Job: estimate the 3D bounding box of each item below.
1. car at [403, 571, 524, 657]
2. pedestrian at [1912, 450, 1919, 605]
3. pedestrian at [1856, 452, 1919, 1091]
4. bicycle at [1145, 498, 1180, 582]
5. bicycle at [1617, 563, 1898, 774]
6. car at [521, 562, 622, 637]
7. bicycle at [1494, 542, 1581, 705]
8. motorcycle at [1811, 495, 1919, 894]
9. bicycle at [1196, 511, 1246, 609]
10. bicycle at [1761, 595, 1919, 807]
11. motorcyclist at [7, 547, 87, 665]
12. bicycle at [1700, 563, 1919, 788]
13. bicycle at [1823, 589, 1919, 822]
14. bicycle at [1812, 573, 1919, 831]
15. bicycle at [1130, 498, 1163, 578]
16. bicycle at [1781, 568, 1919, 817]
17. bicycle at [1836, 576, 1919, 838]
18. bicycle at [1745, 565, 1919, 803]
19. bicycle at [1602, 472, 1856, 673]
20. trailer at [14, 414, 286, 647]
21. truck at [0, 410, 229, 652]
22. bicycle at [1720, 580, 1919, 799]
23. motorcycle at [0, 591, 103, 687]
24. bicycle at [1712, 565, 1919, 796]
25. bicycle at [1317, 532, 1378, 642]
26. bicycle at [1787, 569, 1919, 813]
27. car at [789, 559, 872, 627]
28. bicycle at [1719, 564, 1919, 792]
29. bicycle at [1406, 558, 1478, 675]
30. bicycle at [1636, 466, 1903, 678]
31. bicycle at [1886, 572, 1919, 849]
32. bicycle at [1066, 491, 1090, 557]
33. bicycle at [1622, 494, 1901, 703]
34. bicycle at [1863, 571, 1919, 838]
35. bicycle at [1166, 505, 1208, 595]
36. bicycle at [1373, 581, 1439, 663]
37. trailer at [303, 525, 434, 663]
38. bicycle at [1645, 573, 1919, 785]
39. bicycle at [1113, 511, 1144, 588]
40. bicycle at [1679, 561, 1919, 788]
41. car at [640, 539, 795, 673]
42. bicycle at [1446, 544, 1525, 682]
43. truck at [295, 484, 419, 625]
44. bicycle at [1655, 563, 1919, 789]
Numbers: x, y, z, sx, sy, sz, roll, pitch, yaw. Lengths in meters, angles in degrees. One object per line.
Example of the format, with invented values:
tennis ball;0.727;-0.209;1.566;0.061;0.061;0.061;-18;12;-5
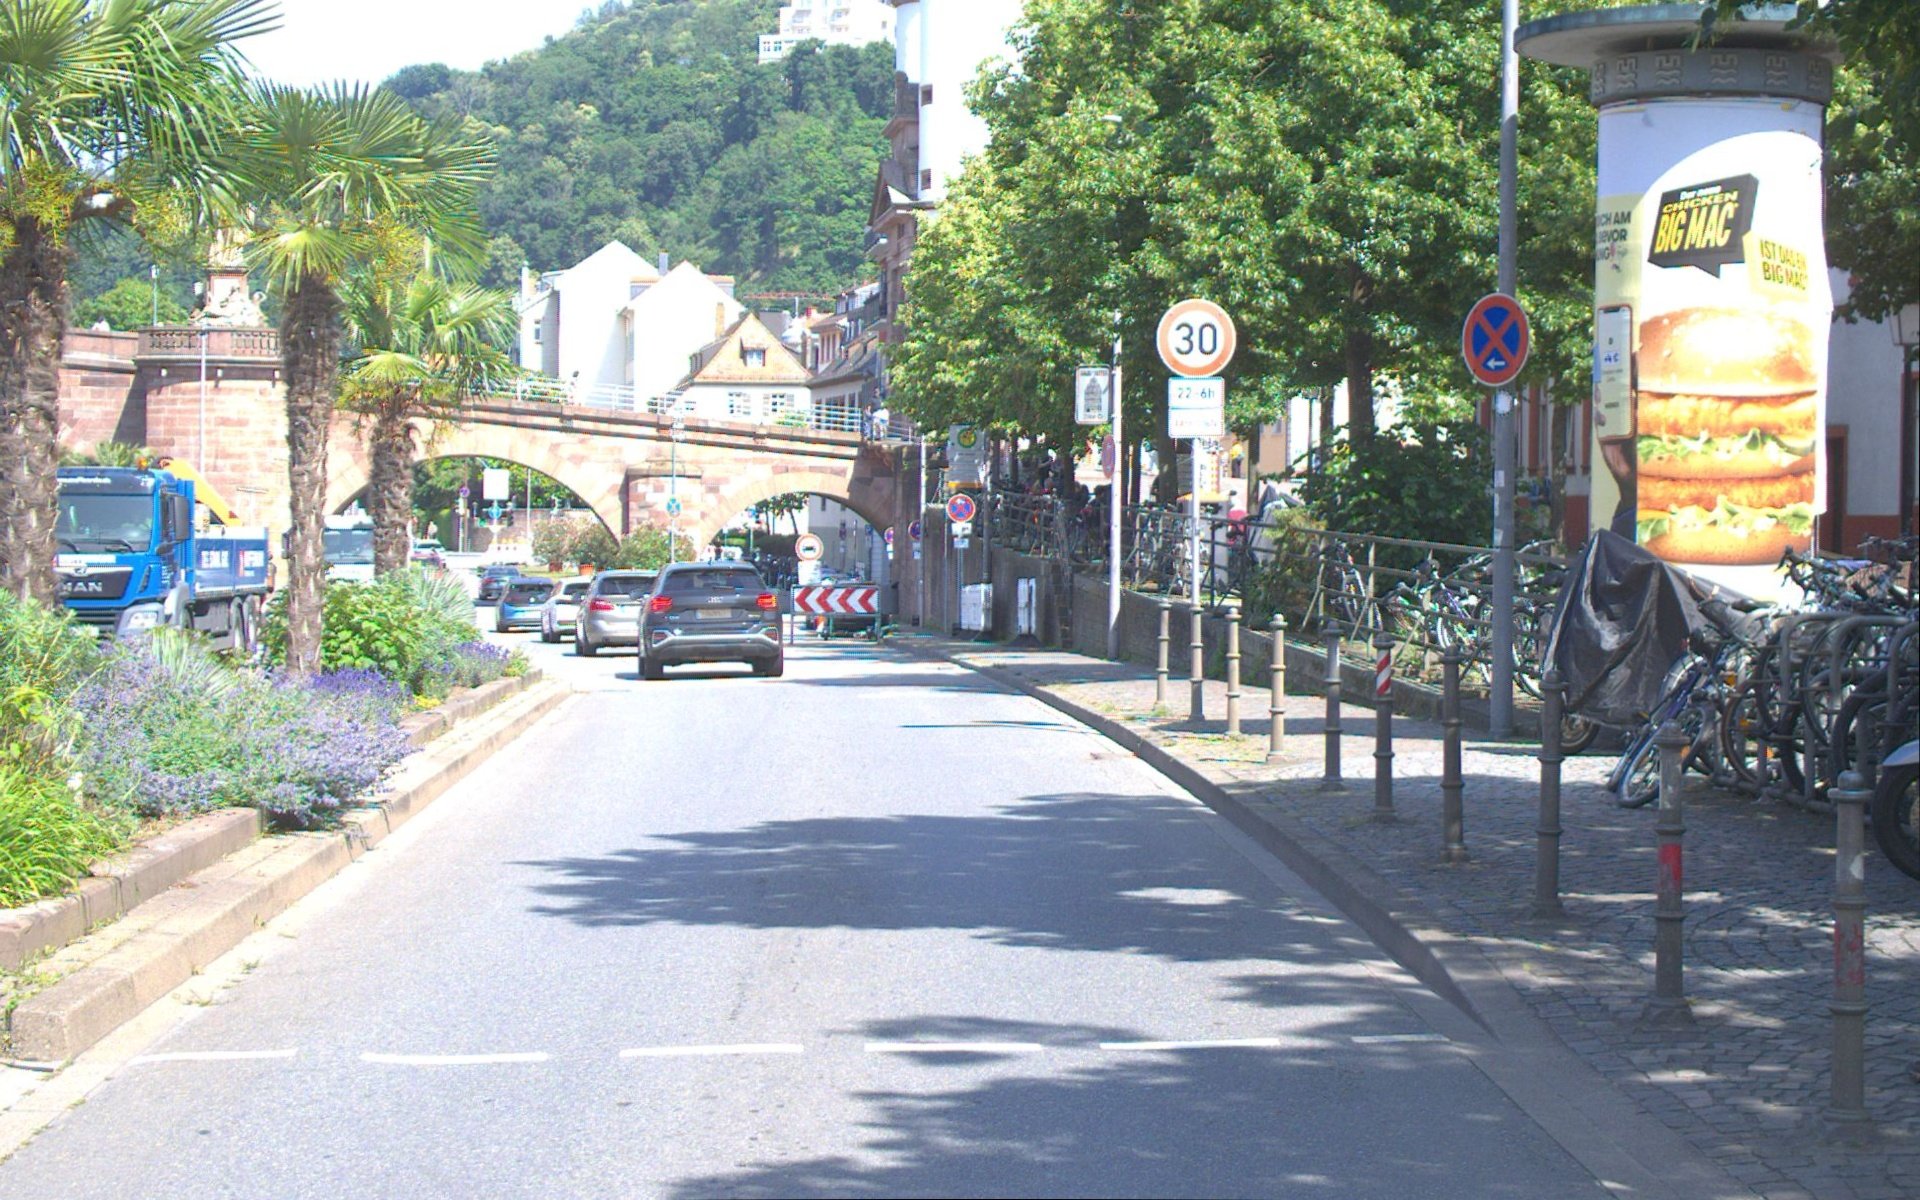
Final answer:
car;-10.005;0.251;69.598;1.993;1.548;4.833;0;2;-3
pedestrian;12.300;-0.887;42.201;0.968;1.908;0.747;0;1;-2
pedestrian;2.846;0.443;8.995;0.693;1.671;0.764;-1;2;-11
bicycle;2.699;-0.803;45.849;0.250;1.092;1.489;2;1;-3
bicycle;4.329;0.368;18.661;1.483;1.129;0.251;0;1;-8
car;-8.821;-0.041;78.386;1.993;1.548;4.833;0;2;-3
bicycle;4.122;0.151;24.585;0.250;1.116;1.489;0;1;-5
motorcycle;4.320;0.342;12.435;2.296;1.460;0.763;0;1;38
bicycle;3.023;-0.471;39.886;0.345;1.092;1.489;2;1;-3
bicycle;4.570;0.468;16.343;1.483;0.975;0.251;-1;1;-8
motorcyclist;-11.599;0.067;43.686;0.736;1.465;1.011;1;1;0
bicycle;4.540;0.376;17.554;1.483;1.116;0.251;-1;1;-8
bicycle;4.674;0.464;15.566;1.483;1.028;0.294;-1;1;-8
bicycle;4.554;0.438;15.266;1.483;1.116;0.294;-1;1;-8
bicycle;2.588;-0.862;47.773;0.250;1.092;1.489;2;1;-3
bicycle;4.533;0.410;15.799;1.483;1.116;0.251;-1;1;-8
bicycle;4.584;0.449;14.976;1.483;1.116;0.294;-1;1;-8
bicycle;4.549;0.395;16.587;1.483;1.116;0.251;-1;1;-8
bicycle;5.684;-0.204;25.425;1.829;1.478;0.286;0;1;-5
trailer;-12.715;-1.126;54.718;2.657;3.391;8.828;0;1;-3
truck;-12.495;-1.020;50.702;2.657;3.391;4.450;0;1;-3
bicycle;4.482;0.428;16.827;1.483;1.043;0.251;-1;1;-8
motorcycle;-11.606;0.476;43.786;0.757;1.128;2.456;1;1;0
bicycle;4.498;0.392;17.076;1.483;1.116;0.251;-1;1;-8
bicycle;3.632;-0.130;32.297;0.250;0.997;1.489;2;1;-5
bicycle;4.629;0.413;16.075;1.483;1.116;0.251;-1;1;-8
car;-3.168;-0.192;84.652;1.719;1.590;3.894;1;1;3
bicycle;4.589;0.384;17.339;1.483;1.116;0.251;-1;1;-8
bicycle;3.879;0.124;27.708;0.250;0.901;1.489;0;1;-5
bicycle;5.697;-0.201;24.205;1.825;1.478;0.270;0;1;-5
bicycle;4.608;0.439;14.181;1.483;1.116;0.378;-1;1;-8
bicycle;2.017;-1.283;58.465;0.356;1.092;1.489;2;1;2
bicycle;5.717;-0.015;24.535;1.925;1.478;0.311;0;1;-5
bicycle;4.624;0.429;14.680;1.483;1.116;0.294;-1;1;-8
bicycle;2.866;-0.638;43.451;0.275;1.092;1.489;-4;1;-3
bicycle;3.787;0.179;29.261;0.250;0.661;1.469;0;1;-5
trailer;-15.572;-0.250;91.074;2.657;3.391;10.171;0;1;-5
bicycle;4.418;0.417;18.348;1.483;1.116;0.251;0;1;-8
bicycle;2.442;-0.735;49.861;0.250;1.092;1.489;2;1;-3
bicycle;4.487;0.375;17.773;1.483;1.116;0.251;-2;1;-8
car;-3.217;0.033;45.371;1.926;1.547;4.833;0;3;-4
bicycle;3.986;0.085;26.121;0.250;1.007;1.489;0;1;-5
truck;-15.059;-1.162;86.085;2.657;3.391;5.136;0;1;-5
bicycle;4.423;0.390;18.048;1.483;1.116;0.251;-2;1;-8
